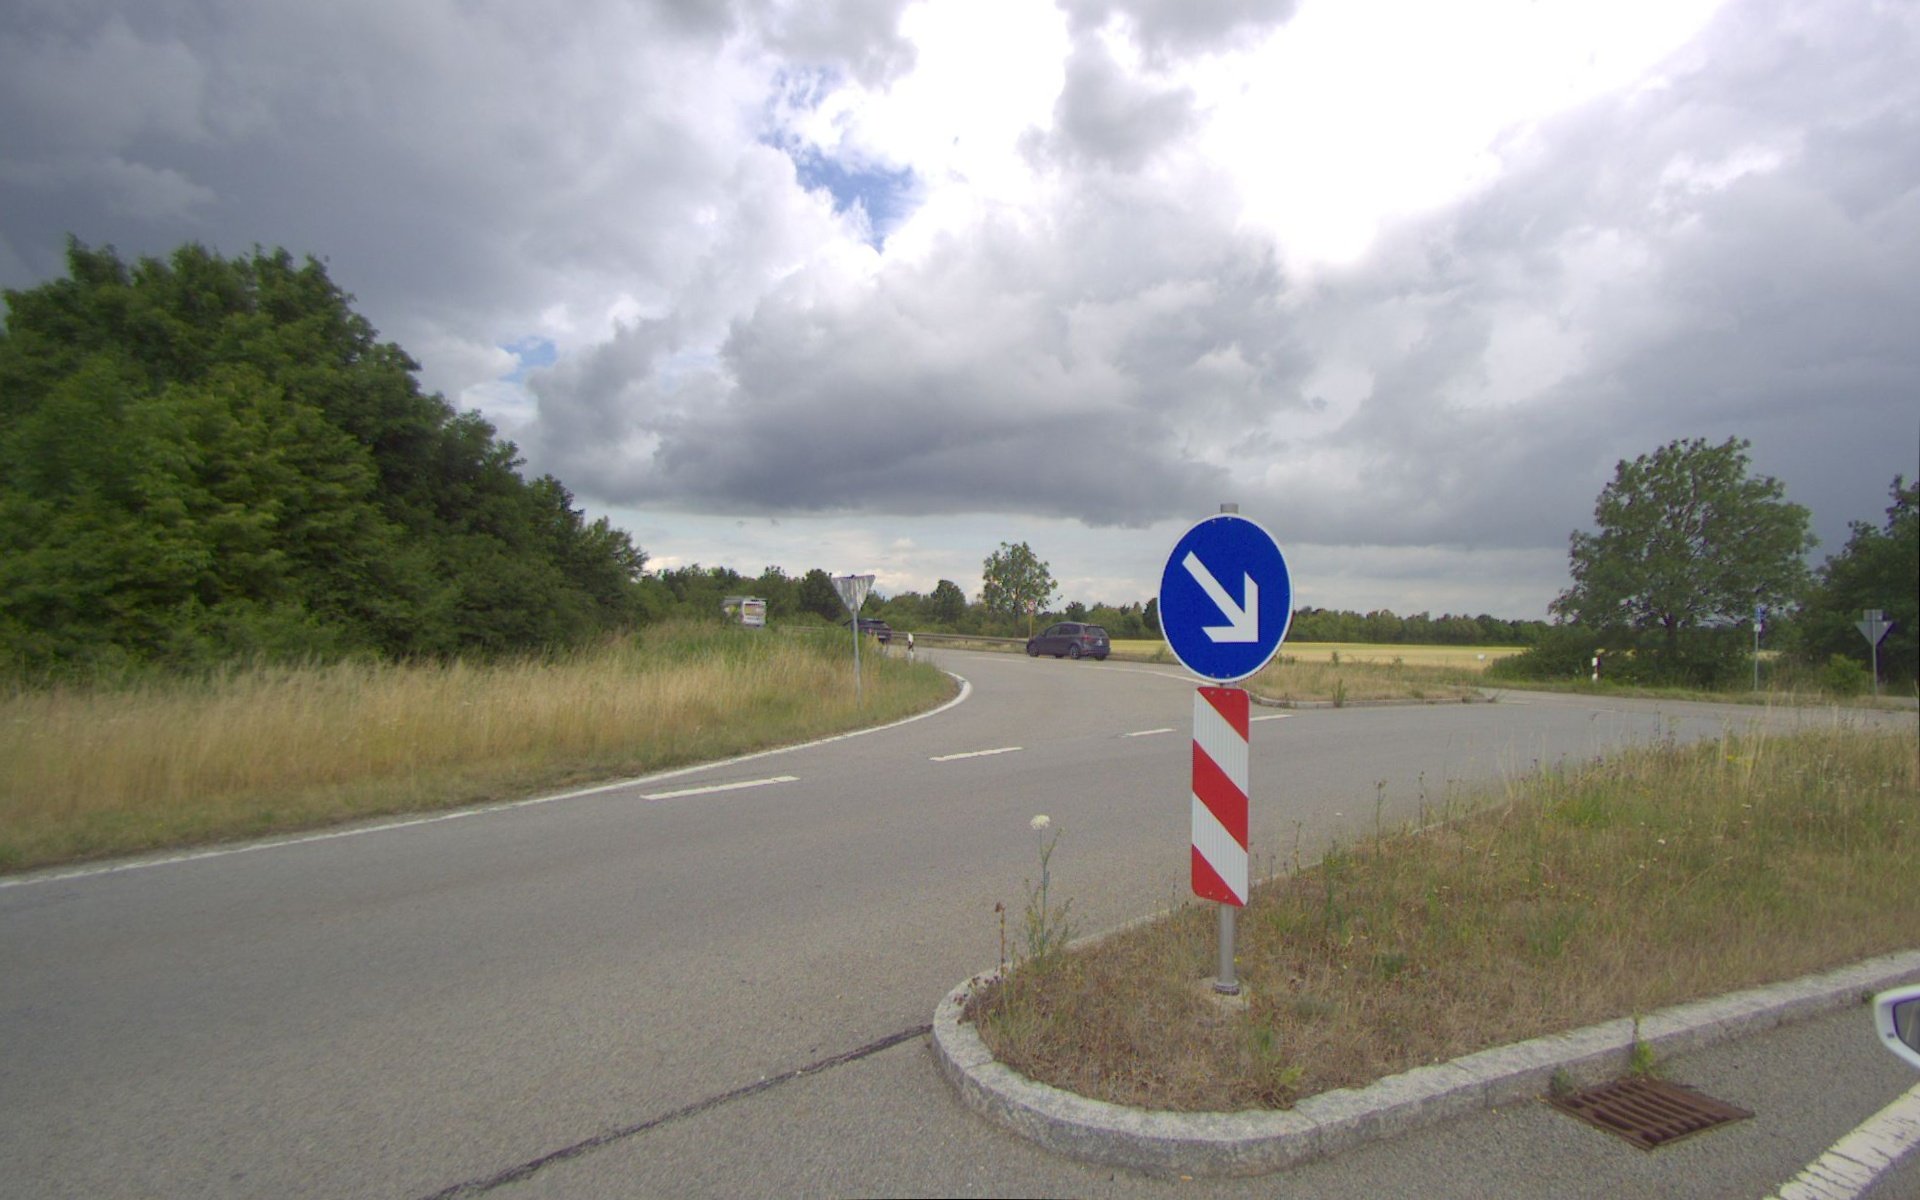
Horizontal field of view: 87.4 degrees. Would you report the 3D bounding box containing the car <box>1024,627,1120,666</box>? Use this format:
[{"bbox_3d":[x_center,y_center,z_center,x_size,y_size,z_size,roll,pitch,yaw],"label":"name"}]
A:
[{"bbox_3d":[4.866,2.035,44.243,1.980,1.622,4.184,1,-2,-34],"label":"car"}]

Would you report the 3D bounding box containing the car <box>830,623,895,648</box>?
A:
[{"bbox_3d":[-5.563,1.981,56.930,1.666,1.362,4.310,1,-2,-37],"label":"car"}]

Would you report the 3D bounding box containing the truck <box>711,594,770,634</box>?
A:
[{"bbox_3d":[-15.886,1.031,72.391,2.045,2.739,5.987,1,-1,-34],"label":"truck"}]
